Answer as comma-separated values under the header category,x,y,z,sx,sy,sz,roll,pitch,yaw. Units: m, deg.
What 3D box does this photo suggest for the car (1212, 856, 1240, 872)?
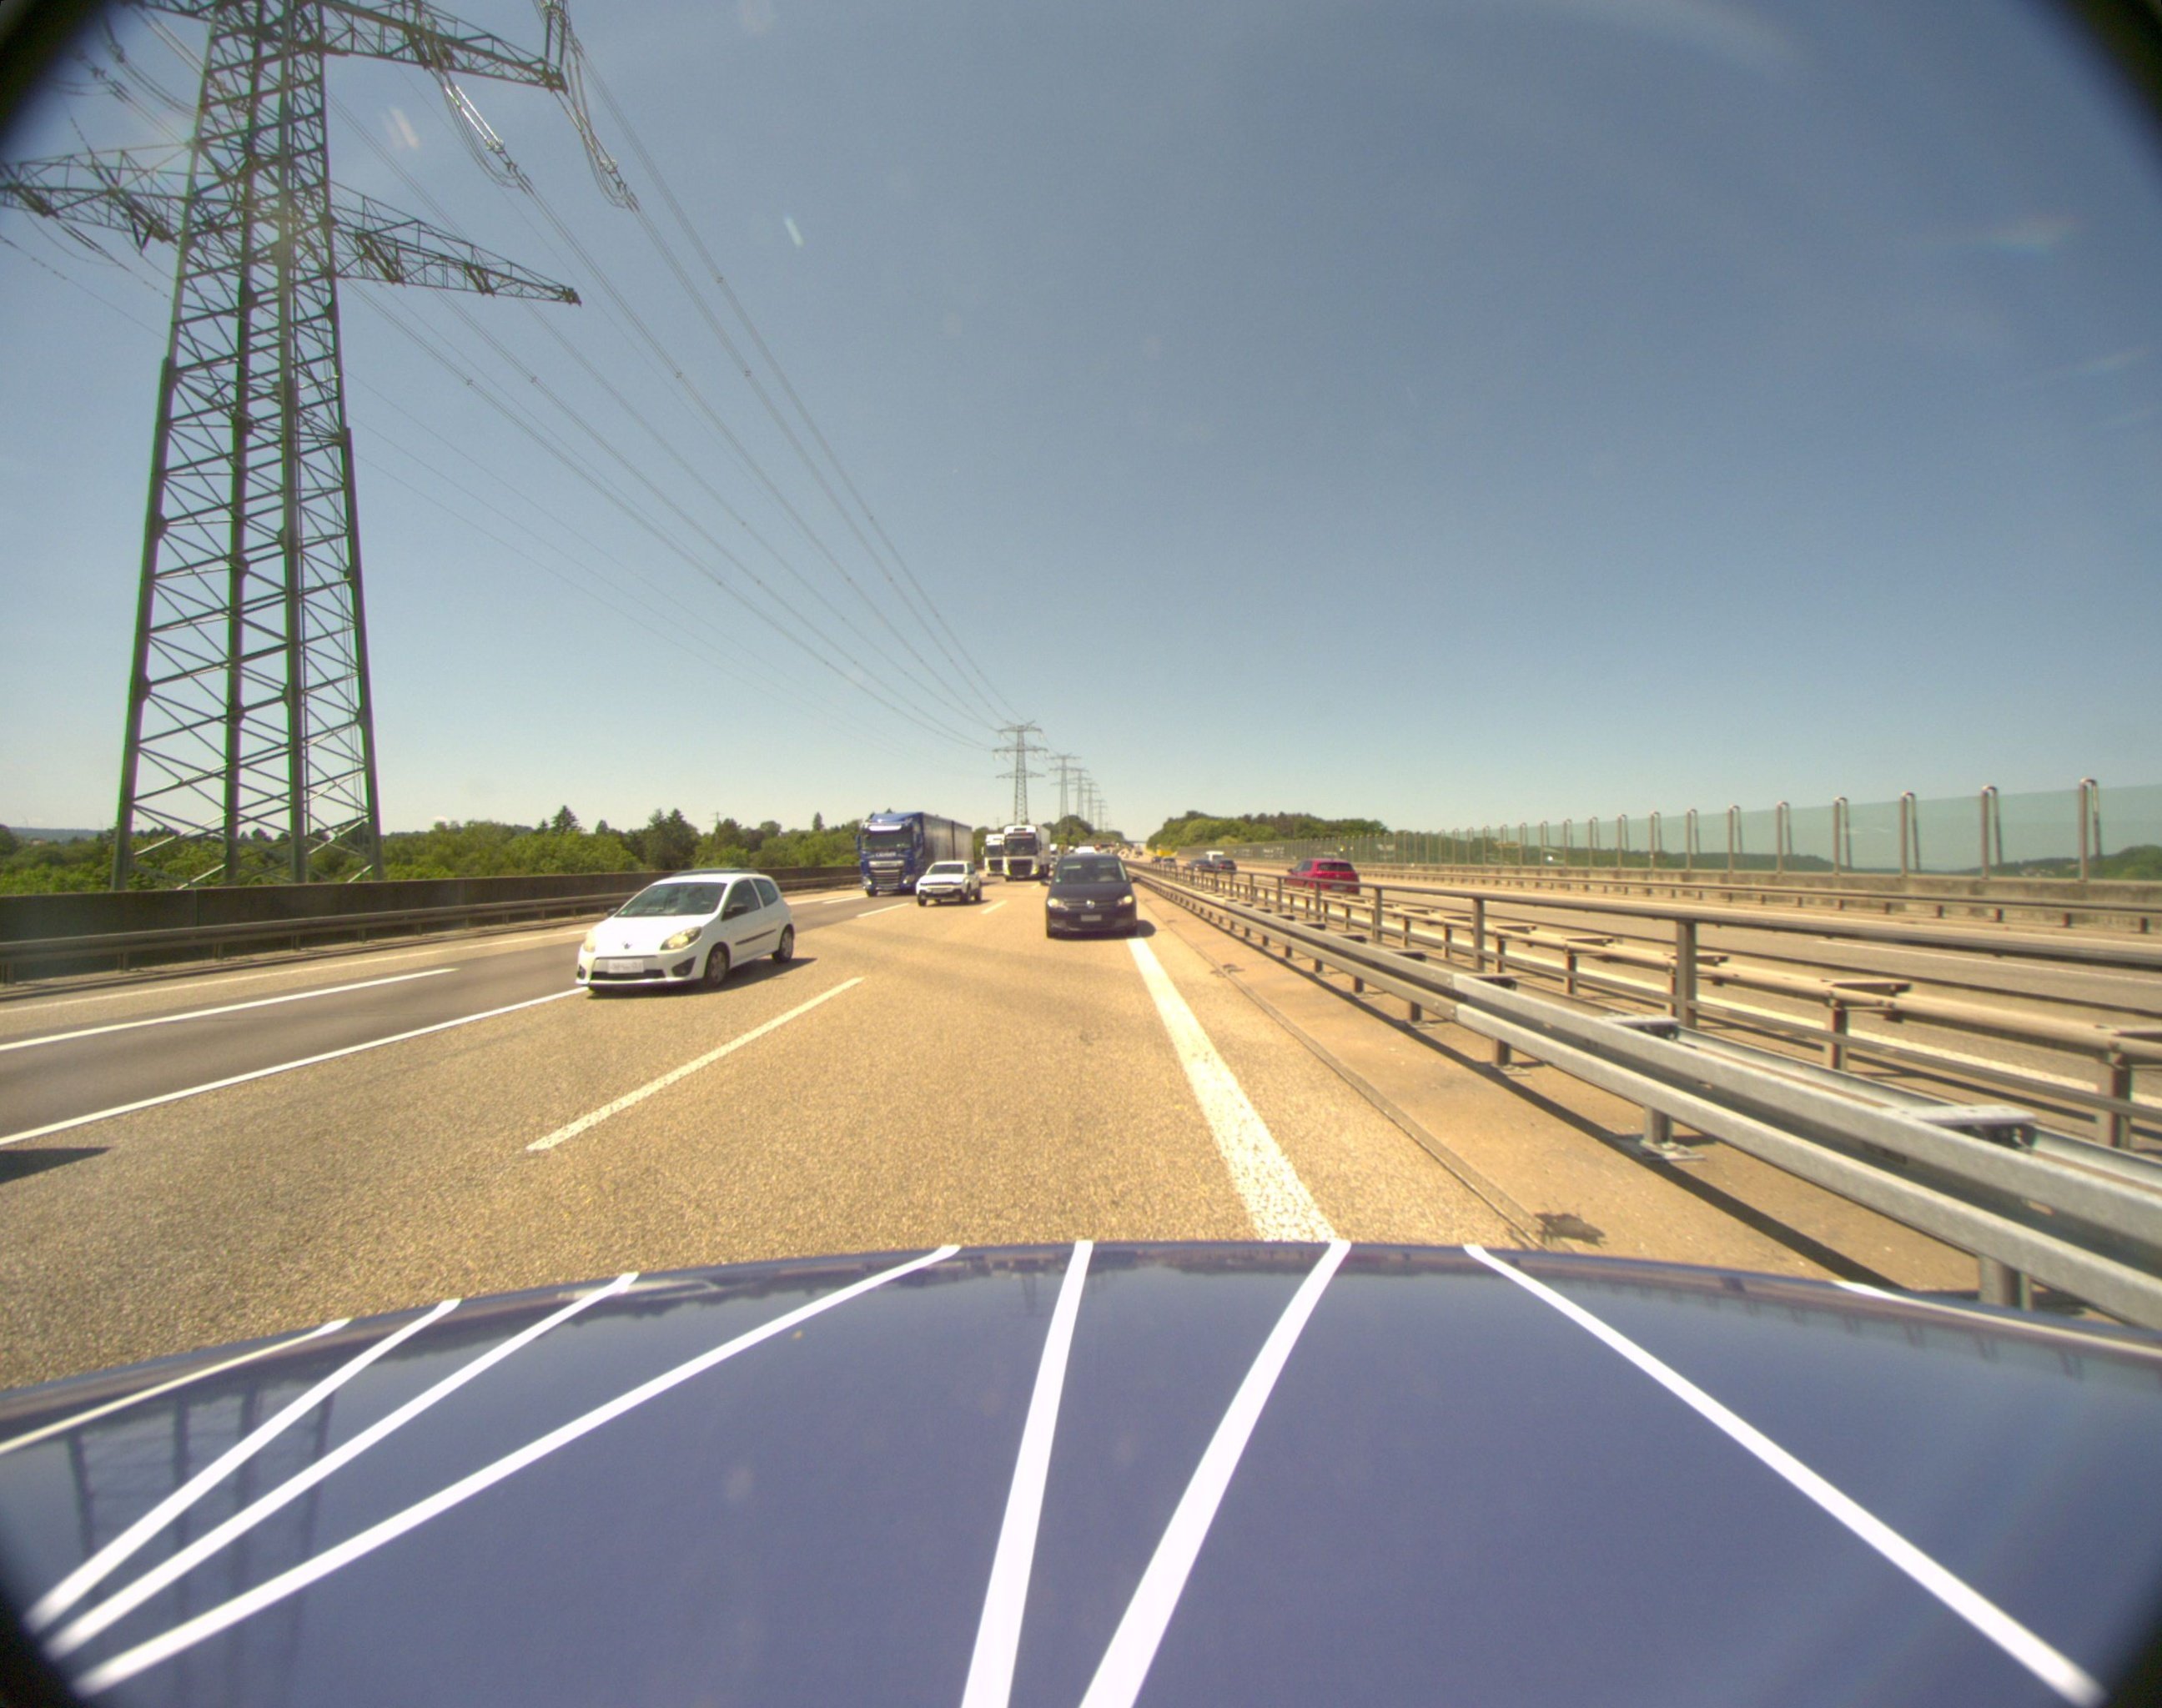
category,x,y,z,sx,sy,sz,roll,pitch,yaw
car,13.372,0.908,70.233,1.805,1.378,4.263,0,1,1

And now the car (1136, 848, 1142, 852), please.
category,x,y,z,sx,sy,sz,roll,pitch,yaw
car,20.026,-1.242,264.579,1.767,1.374,4.078,0,0,0

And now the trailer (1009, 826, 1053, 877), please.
category,x,y,z,sx,sy,sz,roll,pitch,yaw
trailer,-4.076,-0.279,63.906,2.898,3.847,9.773,-2,1,0

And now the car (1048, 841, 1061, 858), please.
category,x,y,z,sx,sy,sz,roll,pitch,yaw
car,-5.251,-0.936,151.877,2.273,3.303,6.288,-2,1,0

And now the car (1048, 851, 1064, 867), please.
category,x,y,z,sx,sy,sz,roll,pitch,yaw
car,-2.887,0.524,88.866,1.672,1.761,3.846,-2,1,1

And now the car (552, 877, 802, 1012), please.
category,x,y,z,sx,sy,sz,roll,pitch,yaw
car,-5.476,1.137,10.863,1.584,1.432,3.629,-2,0,0

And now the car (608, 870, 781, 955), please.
category,x,y,z,sx,sy,sz,roll,pitch,yaw
car,-8.257,1.168,16.654,1.709,1.497,3.888,-2,0,1

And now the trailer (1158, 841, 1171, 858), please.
category,x,y,z,sx,sy,sz,roll,pitch,yaw
trailer,20.762,-1.180,188.627,2.428,4.040,13.805,0,0,3

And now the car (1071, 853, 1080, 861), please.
category,x,y,z,sx,sy,sz,roll,pitch,yaw
car,-1.024,0.624,152.810,1.701,1.599,3.639,-2,1,1

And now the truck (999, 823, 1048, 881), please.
category,x,y,z,sx,sy,sz,roll,pitch,yaw
truck,-4.074,-0.199,55.629,2.914,3.869,6.739,-2,1,0

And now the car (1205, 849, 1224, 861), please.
category,x,y,z,sx,sy,sz,roll,pitch,yaw
car,18.461,0.090,105.285,1.860,1.536,4.200,1,1,0

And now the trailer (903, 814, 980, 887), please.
category,x,y,z,sx,sy,sz,roll,pitch,yaw
trailer,-8.457,-0.253,47.646,2.543,3.971,10.884,-2,1,1

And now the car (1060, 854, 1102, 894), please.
category,x,y,z,sx,sy,sz,roll,pitch,yaw
car,0.001,0.823,33.057,1.685,1.607,3.642,-2,0,0

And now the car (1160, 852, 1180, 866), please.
category,x,y,z,sx,sy,sz,roll,pitch,yaw
car,10.205,0.545,87.210,1.845,1.520,3.558,0,0,1

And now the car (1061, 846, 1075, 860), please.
category,x,y,z,sx,sy,sz,roll,pitch,yaw
car,-1.965,-0.195,119.418,1.998,2.002,4.000,-2,1,1

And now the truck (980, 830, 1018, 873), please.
category,x,y,z,sx,sy,sz,roll,pitch,yaw
truck,-8.012,-0.269,75.094,2.914,3.869,6.739,-2,1,0

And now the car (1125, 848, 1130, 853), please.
category,x,y,z,sx,sy,sz,roll,pitch,yaw
car,16.189,-1.260,264.360,1.762,1.440,4.286,1,0,0

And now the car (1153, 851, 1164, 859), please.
category,x,y,z,sx,sy,sz,roll,pitch,yaw
car,15.412,0.180,150.997,1.860,1.389,4.675,0,0,1

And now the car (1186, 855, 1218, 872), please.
category,x,y,z,sx,sy,sz,roll,pitch,yaw
car,9.523,0.719,60.088,1.901,1.307,4.372,0,0,1

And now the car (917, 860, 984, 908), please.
category,x,y,z,sx,sy,sz,roll,pitch,yaw
car,-4.618,1.016,27.395,1.722,1.526,3.753,-2,0,0

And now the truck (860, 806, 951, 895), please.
category,x,y,z,sx,sy,sz,roll,pitch,yaw
truck,-8.574,-0.154,38.251,2.517,3.944,7.927,-2,0,1

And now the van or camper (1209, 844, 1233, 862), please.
category,x,y,z,sx,sy,sz,roll,pitch,yaw
van or camper,18.455,-0.162,100.370,1.998,2.199,5.536,1,1,0

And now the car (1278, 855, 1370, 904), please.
category,x,y,z,sx,sy,sz,roll,pitch,yaw
car,8.478,0.834,26.950,1.846,1.438,4.418,-2,1,1

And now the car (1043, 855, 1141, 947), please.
category,x,y,z,sx,sy,sz,roll,pitch,yaw
car,0.198,0.861,15.790,1.739,1.607,3.911,-2,0,0

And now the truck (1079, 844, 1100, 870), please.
category,x,y,z,sx,sy,sz,roll,pitch,yaw
truck,0.973,0.282,82.367,2.100,2.700,5.864,-2,1,1
